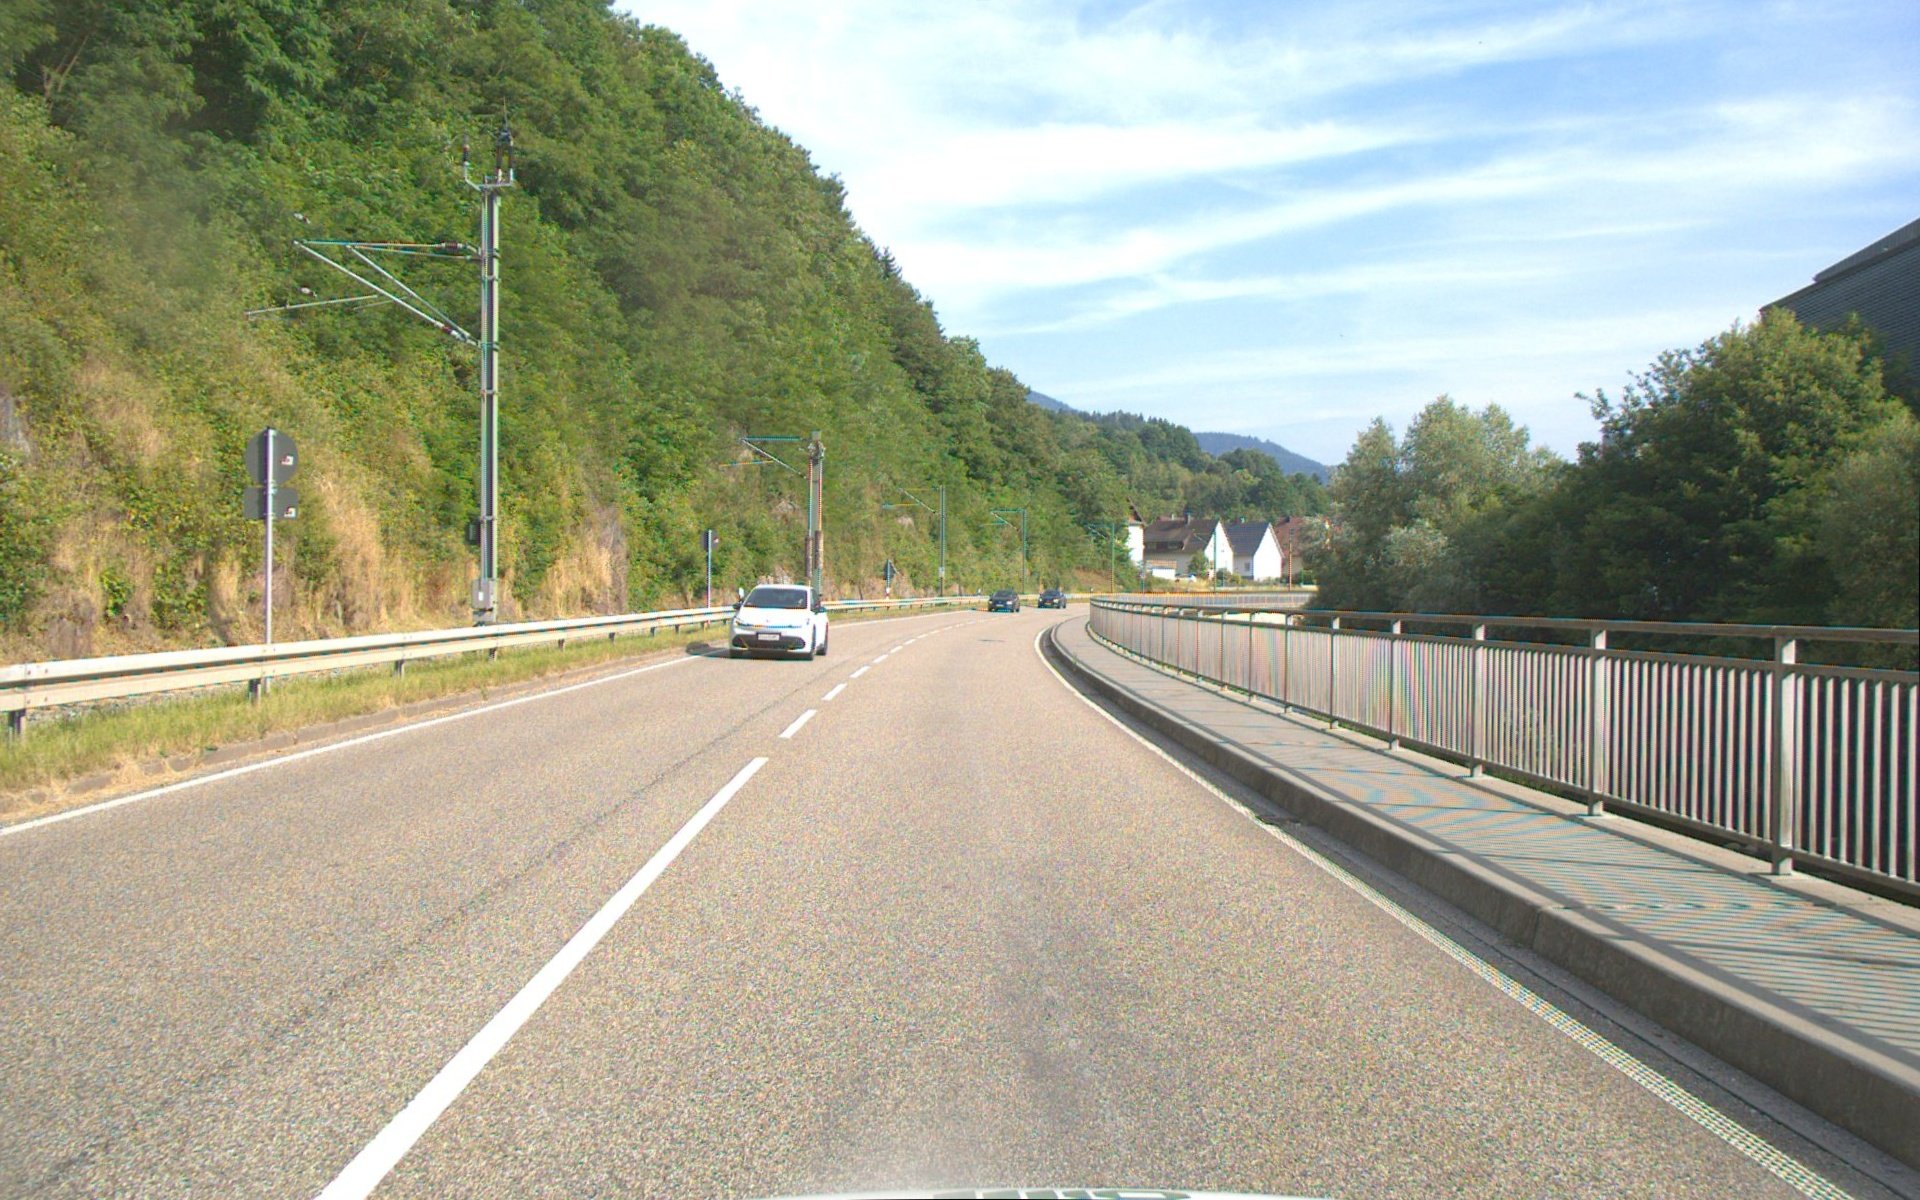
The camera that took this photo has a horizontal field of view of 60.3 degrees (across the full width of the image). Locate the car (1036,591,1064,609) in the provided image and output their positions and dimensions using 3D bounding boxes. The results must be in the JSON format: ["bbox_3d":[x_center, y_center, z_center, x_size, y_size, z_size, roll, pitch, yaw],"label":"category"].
[{"bbox_3d":[7.297,0.013,133.899,1.808,1.426,4.480,1,0,8],"label":"car"}]

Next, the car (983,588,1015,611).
[{"bbox_3d":[2.639,-0.044,111.127,1.808,1.465,3.900,-1,0,7],"label":"car"}]

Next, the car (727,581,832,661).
[{"bbox_3d":[-3.868,0.409,36.164,1.810,1.571,4.603,2,0,-1],"label":"car"}]
